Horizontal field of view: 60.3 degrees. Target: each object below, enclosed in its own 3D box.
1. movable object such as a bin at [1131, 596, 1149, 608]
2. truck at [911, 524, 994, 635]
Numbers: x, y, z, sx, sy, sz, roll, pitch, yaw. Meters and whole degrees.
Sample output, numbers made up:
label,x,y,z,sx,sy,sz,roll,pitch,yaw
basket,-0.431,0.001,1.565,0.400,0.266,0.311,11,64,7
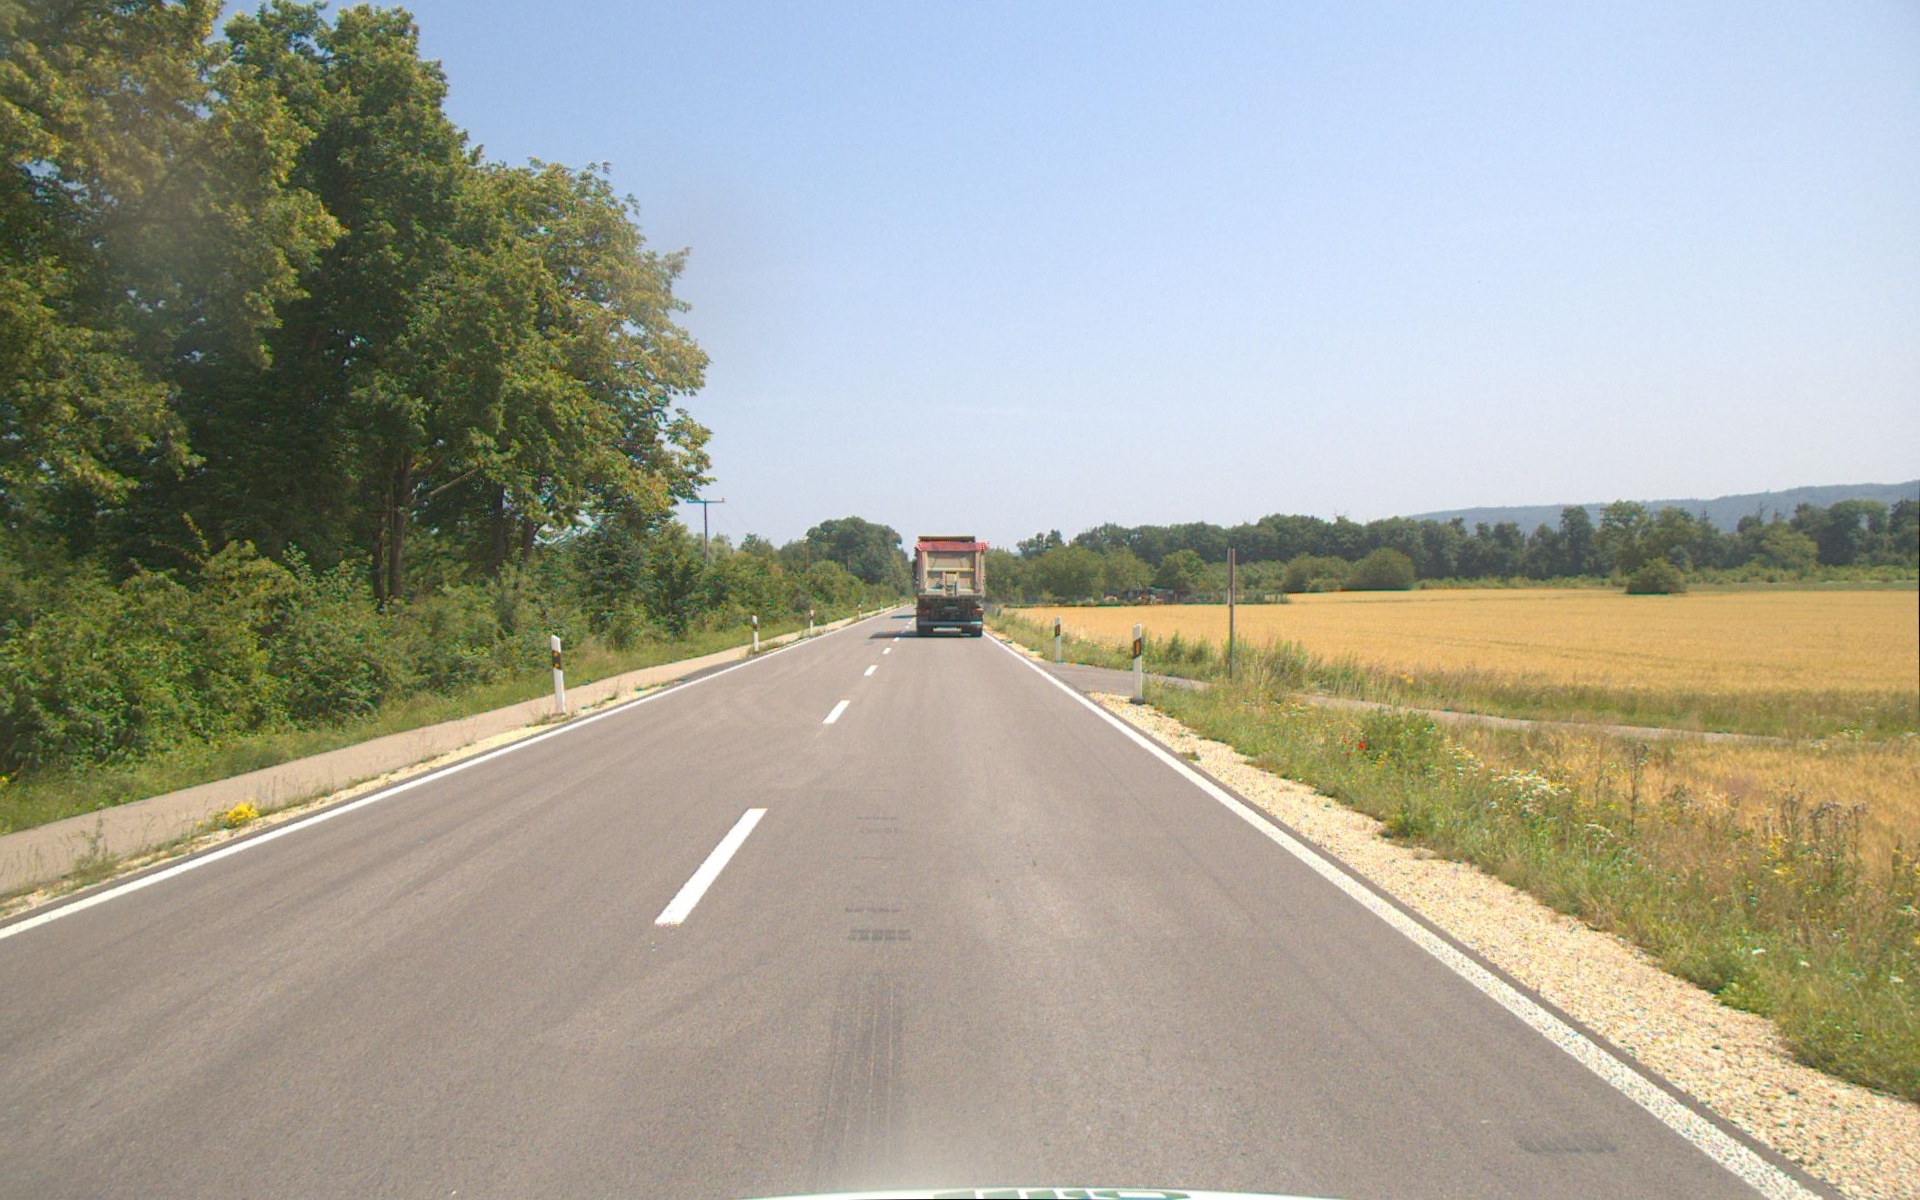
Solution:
label,x,y,z,sx,sy,sz,roll,pitch,yaw
movable object such as a bin,23.038,0.241,211.915,1.540,1.522,3.654,-1,0,-5
truck,-0.379,-0.721,65.452,2.948,3.942,12.206,1,0,-1
